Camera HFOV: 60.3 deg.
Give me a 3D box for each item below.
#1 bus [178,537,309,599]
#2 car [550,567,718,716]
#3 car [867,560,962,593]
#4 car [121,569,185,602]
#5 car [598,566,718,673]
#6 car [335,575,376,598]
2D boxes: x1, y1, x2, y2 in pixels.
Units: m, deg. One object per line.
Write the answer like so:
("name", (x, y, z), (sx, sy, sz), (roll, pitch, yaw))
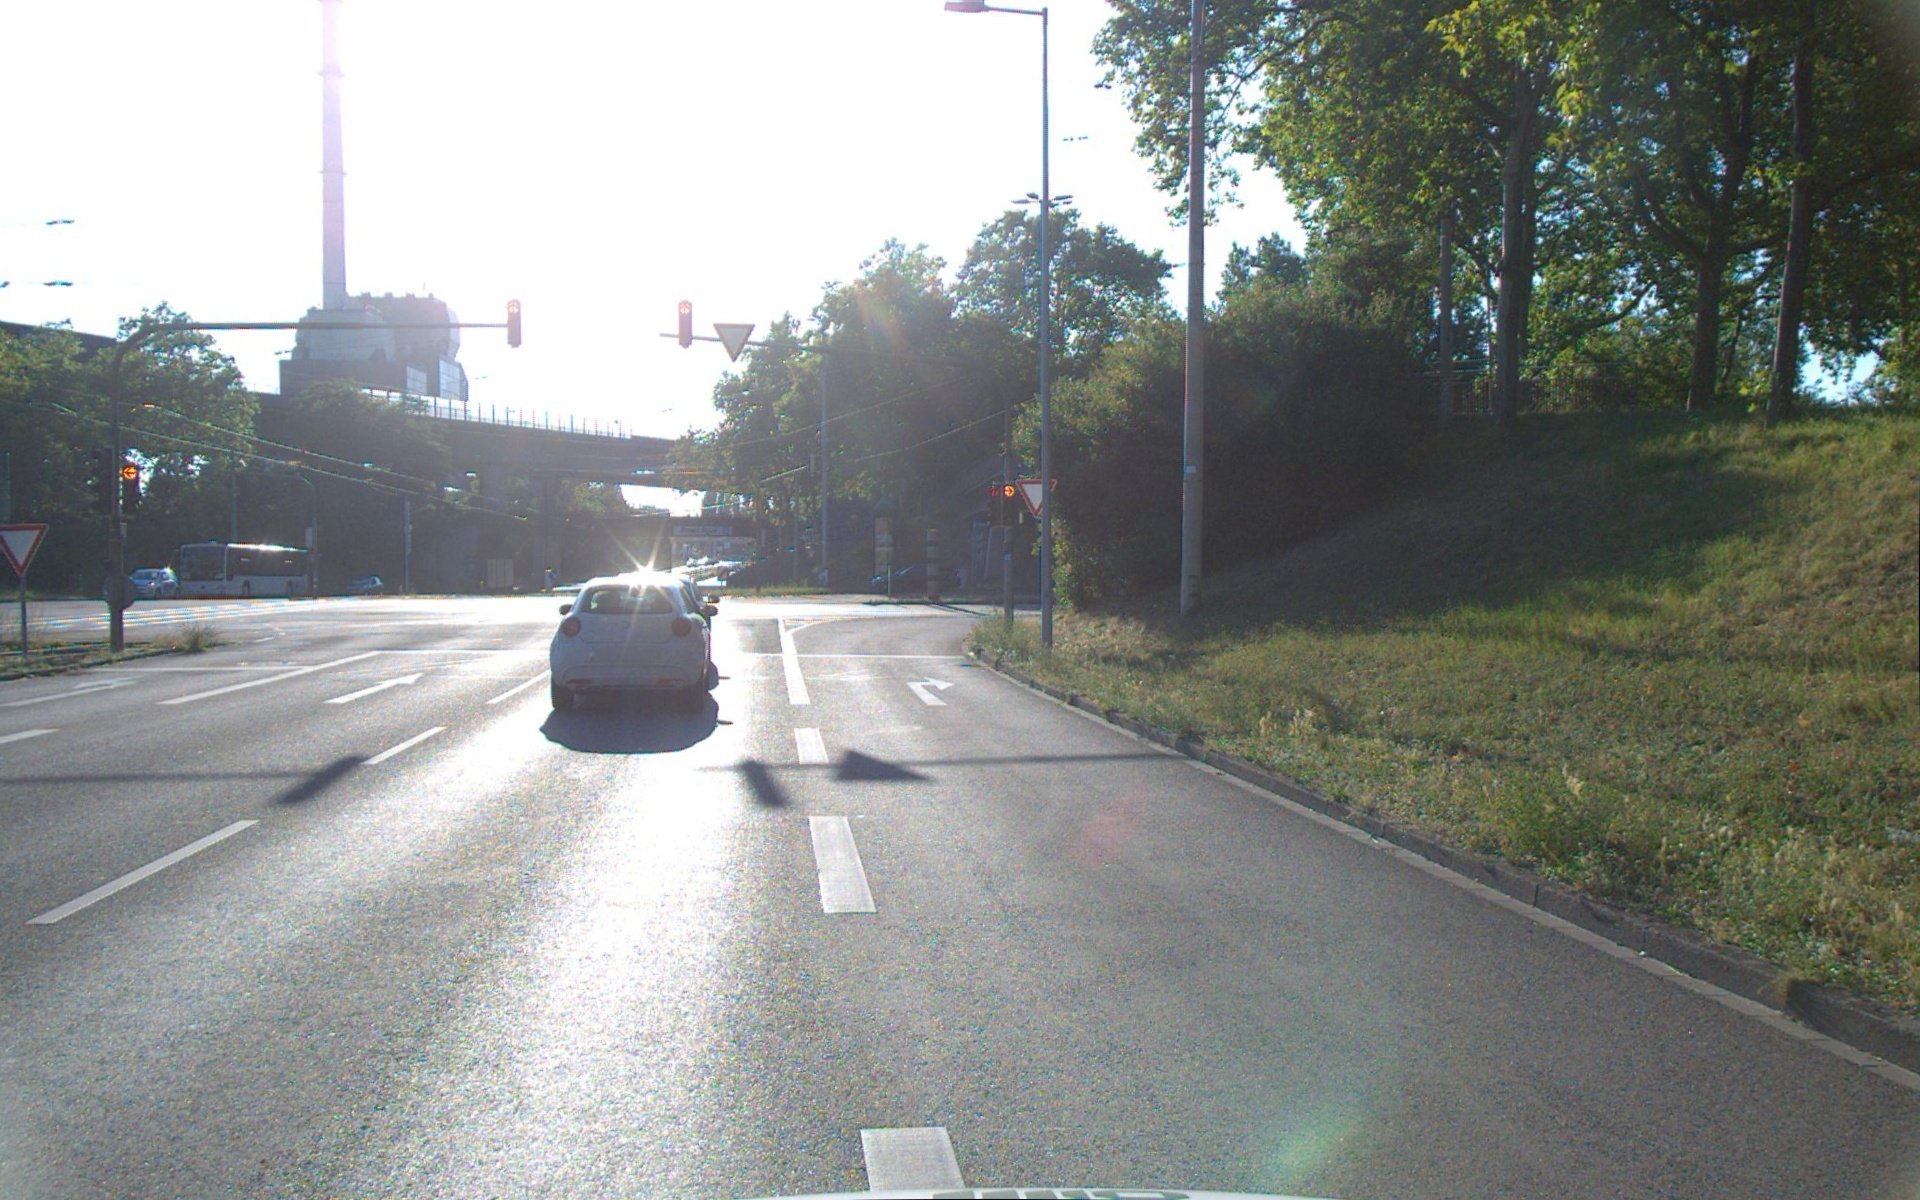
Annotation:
("bus", (-39.722, -1.650, 92.321), (2.493, 3.184, 12.907), (-1, 0, -4))
("car", (-3.777, 0.399, 19.706), (1.704, 1.531, 3.994), (-1, 2, -8))
("car", (-2.270, -1.161, 83.007), (4.515, 1.602, 1.681), (0, 1, -24))
("car", (-38.683, -0.707, 79.379), (1.576, 1.538, 4.001), (0, 1, -8))
("car", (-4.692, 0.229, 25.925), (1.682, 1.491, 4.198), (-1, 2, -9))
("car", (-41.227, -0.934, 112.866), (1.575, 1.443, 4.004), (0, 1, -5))
